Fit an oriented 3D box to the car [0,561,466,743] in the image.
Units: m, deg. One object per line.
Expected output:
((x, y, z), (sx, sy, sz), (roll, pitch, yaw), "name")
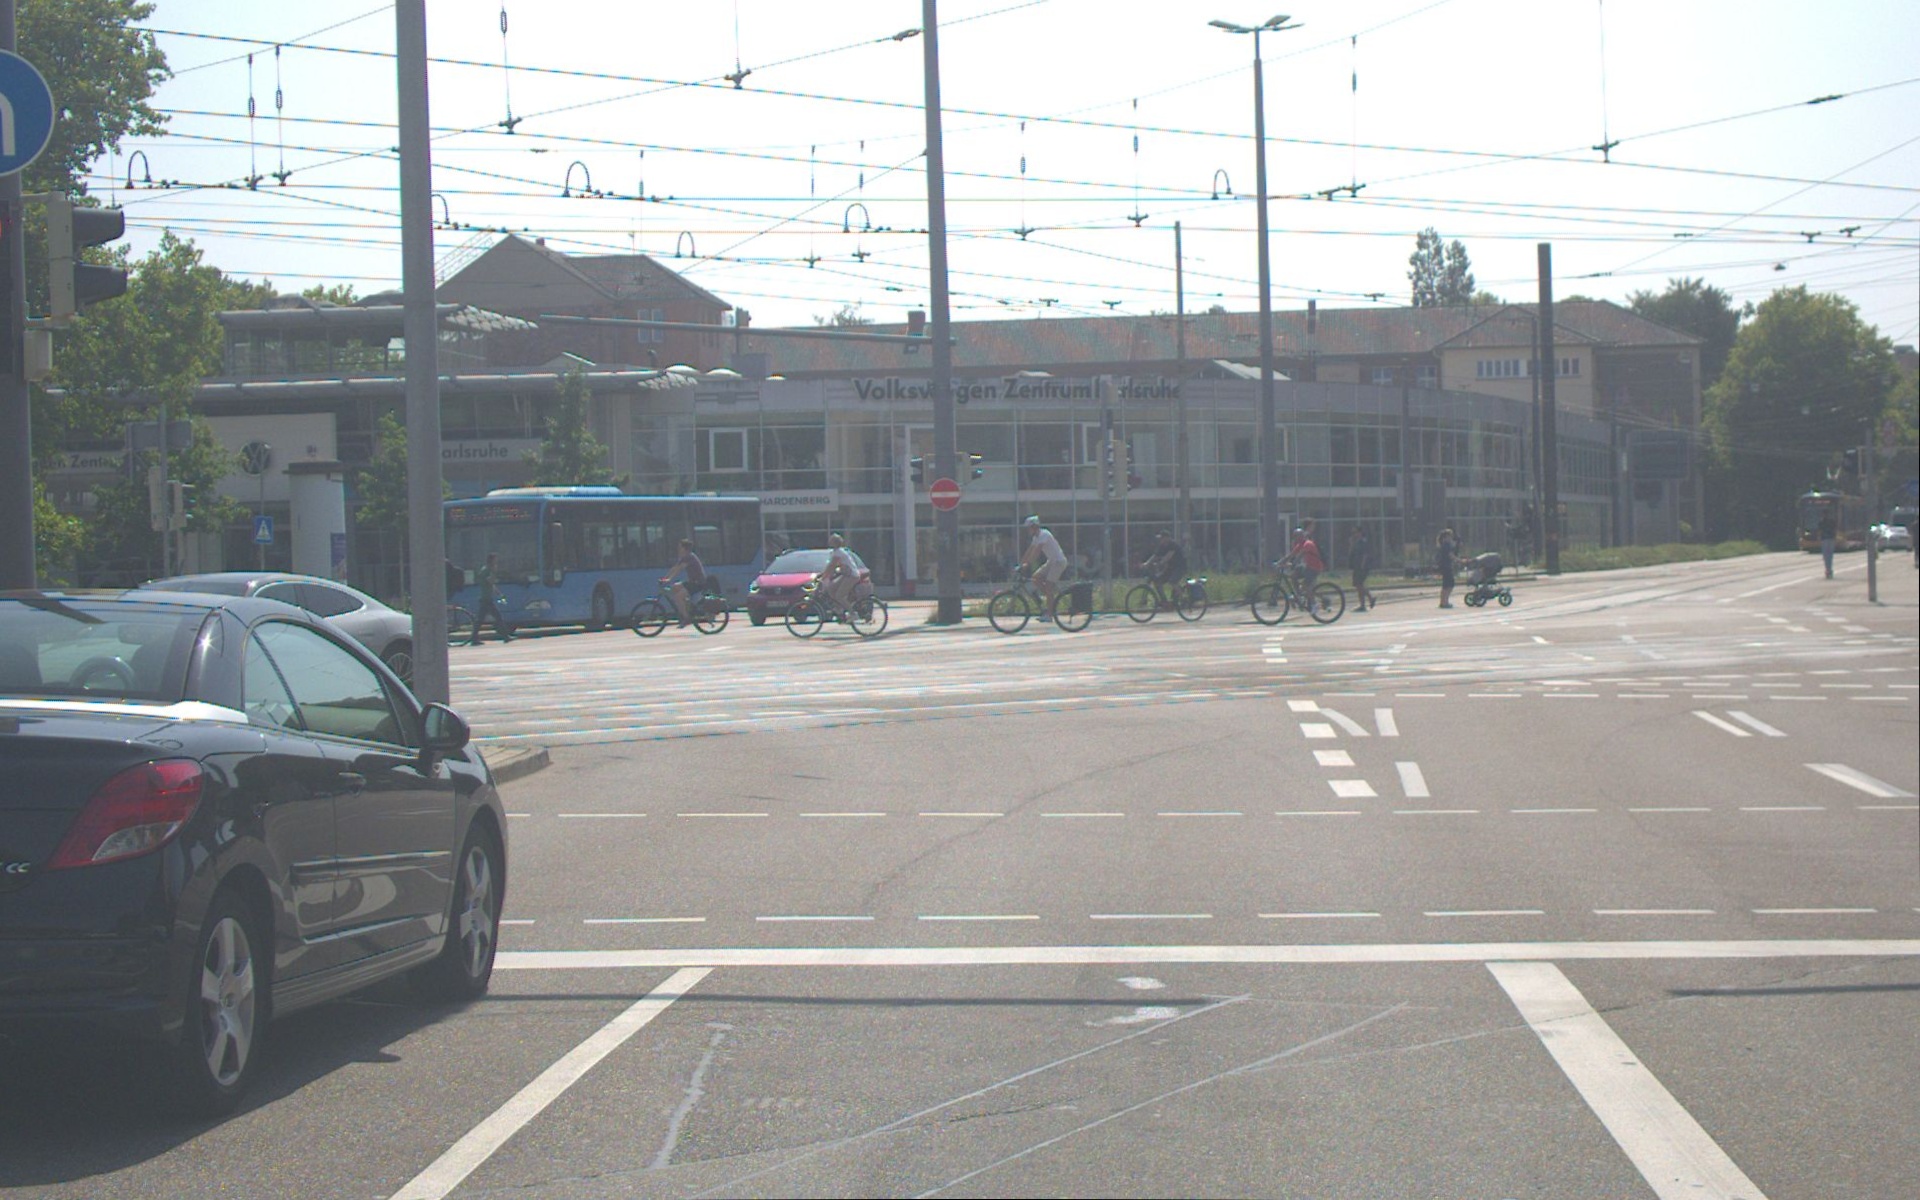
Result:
((-6.426, 0.408, 29.966), (1.942, 1.395, 4.580), (-1, 1, 26), "car")

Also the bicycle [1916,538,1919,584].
((21.150, -0.850, 73.052), (1.590, 0.981, 0.507), (-1, 1, -18), "bicycle")

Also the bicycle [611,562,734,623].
((-5.421, -0.152, 64.793), (2.196, 1.084, 0.763), (-1, 1, -12), "bicycle")

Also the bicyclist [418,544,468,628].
((-9.620, -0.264, 63.944), (0.797, 1.536, 0.763), (-1, 1, -16), "bicyclist")

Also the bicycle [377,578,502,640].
((-9.677, 0.158, 63.939), (2.196, 1.084, 0.763), (-2, 1, -16), "bicycle")

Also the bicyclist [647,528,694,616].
((-5.455, -0.528, 64.778), (0.761, 1.628, 0.763), (-1, 1, -12), "bicyclist")

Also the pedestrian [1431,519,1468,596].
((10.073, -0.878, 70.768), (0.635, 1.555, 0.747), (-1, 1, 1), "pedestrian")

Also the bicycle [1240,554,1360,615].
((5.964, -0.275, 60.402), (1.977, 1.015, 0.715), (-1, 1, -6), "bicycle")

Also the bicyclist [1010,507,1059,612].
((1.266, -0.691, 58.612), (0.704, 1.758, 0.715), (-1, 1, -8), "bicyclist")

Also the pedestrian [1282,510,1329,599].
((6.063, -0.803, 60.407), (0.662, 1.529, 0.715), (-1, 1, -6), "pedestrian")

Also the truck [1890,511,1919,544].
((58.497, -4.484, 211.779), (2.116, 2.007, 5.099), (-1, 1, 17), "truck")

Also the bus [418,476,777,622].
((-7.736, -1.165, 75.891), (3.056, 2.921, 11.842), (-1, 1, 19), "bus")

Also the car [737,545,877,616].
((-3.202, -0.428, 72.494), (1.729, 1.415, 3.837), (-1, 1, 17), "car")

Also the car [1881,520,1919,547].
((53.887, -3.830, 197.117), (1.995, 1.478, 3.998), (-1, 1, 14), "car")

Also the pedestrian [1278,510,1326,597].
((6.982, -0.956, 70.084), (0.784, 1.746, 0.808), (-1, 1, 18), "pedestrian")

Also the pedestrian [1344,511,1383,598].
((8.111, -0.918, 69.126), (0.622, 1.746, 0.627), (-1, 1, 19), "pedestrian")

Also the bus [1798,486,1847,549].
((49.169, -4.686, 195.876), (2.563, 3.494, 7.796), (-1, 1, 15), "bus")

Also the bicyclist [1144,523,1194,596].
((3.918, -0.757, 64.455), (0.668, 1.345, 0.712), (-2, 1, -22), "bicyclist")

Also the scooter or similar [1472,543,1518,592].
((11.014, -0.669, 70.804), (0.835, 0.971, 0.793), (-1, 1, 1), "scooter or similar")

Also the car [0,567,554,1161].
((-2.565, 0.628, 10.410), (1.758, 1.399, 3.980), (0, 1, 7), "car")

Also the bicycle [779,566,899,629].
((-2.044, -0.039, 58.195), (1.978, 1.015, 0.715), (-1, 1, 0), "bicycle")

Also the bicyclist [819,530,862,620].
((-2.021, -0.431, 58.183), (0.664, 1.503, 0.715), (-1, 1, 0), "bicyclist")

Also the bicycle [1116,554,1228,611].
((3.979, -0.332, 64.482), (1.977, 1.015, 0.715), (-2, 1, -22), "bicycle")

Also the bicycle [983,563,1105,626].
((1.427, -0.103, 58.644), (1.977, 1.015, 0.715), (-1, 1, -8), "bicycle")
